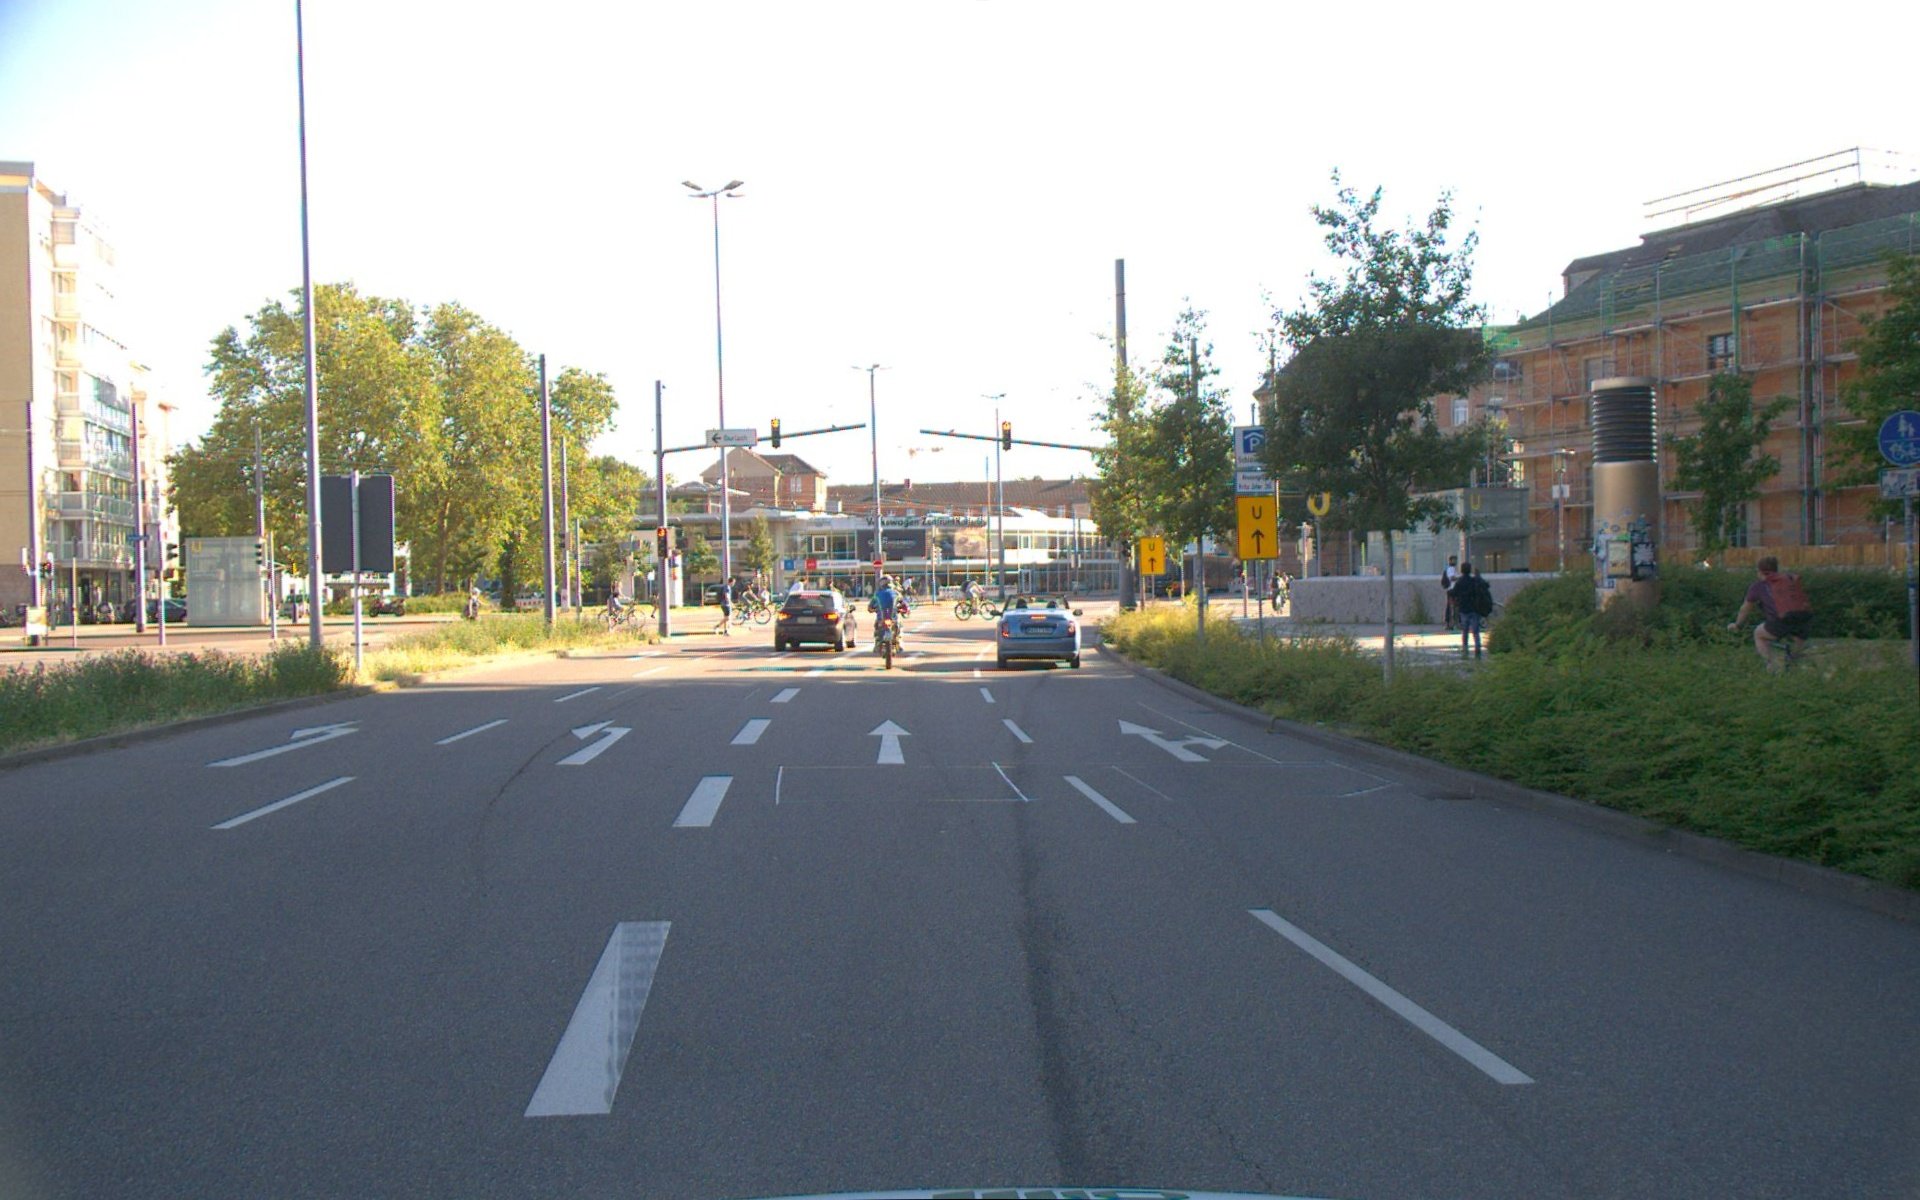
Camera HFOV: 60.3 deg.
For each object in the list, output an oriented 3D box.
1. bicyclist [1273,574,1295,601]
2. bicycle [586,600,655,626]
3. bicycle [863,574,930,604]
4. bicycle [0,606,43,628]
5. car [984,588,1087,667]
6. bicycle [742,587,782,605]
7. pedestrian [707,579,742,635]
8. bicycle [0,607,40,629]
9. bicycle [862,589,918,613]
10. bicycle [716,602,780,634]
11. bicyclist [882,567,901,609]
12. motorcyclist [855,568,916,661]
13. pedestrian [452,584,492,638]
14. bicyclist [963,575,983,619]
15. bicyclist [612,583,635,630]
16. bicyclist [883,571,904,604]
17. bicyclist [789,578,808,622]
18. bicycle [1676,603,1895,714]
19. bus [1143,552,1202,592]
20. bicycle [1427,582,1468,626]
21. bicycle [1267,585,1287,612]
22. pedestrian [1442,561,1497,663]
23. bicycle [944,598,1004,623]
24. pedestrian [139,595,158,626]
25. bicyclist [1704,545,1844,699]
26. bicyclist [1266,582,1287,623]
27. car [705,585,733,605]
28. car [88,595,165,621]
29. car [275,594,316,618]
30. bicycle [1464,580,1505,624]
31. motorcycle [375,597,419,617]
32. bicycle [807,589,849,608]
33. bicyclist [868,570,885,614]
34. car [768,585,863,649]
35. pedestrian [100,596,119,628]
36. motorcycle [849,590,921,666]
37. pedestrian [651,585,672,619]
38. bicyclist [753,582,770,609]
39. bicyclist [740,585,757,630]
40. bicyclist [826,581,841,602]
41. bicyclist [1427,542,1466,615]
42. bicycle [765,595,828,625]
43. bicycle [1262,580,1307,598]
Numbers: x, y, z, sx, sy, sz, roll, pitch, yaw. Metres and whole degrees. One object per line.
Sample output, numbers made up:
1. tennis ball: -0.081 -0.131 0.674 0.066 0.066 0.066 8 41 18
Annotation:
1. bicyclist: 19.157 -0.727 97.826 0.907 1.587 0.960 -1 0 -12
2. bicycle: -12.662 0.482 61.677 2.455 0.889 0.856 -1 2 -19
3. bicycle: -3.827 -0.655 99.812 3.921 1.719 1.134 -1 2 -16
4. bicycle: -49.981 0.925 87.958 2.009 1.109 0.774 -1 0 -16
5. car: 1.577 0.497 33.137 1.762 1.469 3.981 0 1 7
6. bicycle: -11.634 -0.215 96.985 2.255 0.996 0.858 -1 2 -12
7. pedestrian: -7.244 0.207 50.965 0.820 1.701 0.690 -1 0 -36
8. bicycle: -49.707 0.956 87.158 2.009 1.109 0.774 -1 0 -16
9. bicycle: -2.946 0.036 69.669 2.256 0.921 0.858 -1 2 -13
10. bicycle: -8.260 0.693 64.419 2.446 1.153 0.859 -1 2 -9
11. bicyclist: -2.887 -0.507 69.657 0.638 1.720 0.858 -1 2 -12
12. motorcyclist: -1.421 0.272 31.715 1.073 1.751 0.937 0 0 4
13. pedestrian: -14.998 0.335 50.863 1.072 1.634 0.698 -1 2 -7
14. bicyclist: 0.507 -0.137 65.711 0.638 1.720 0.858 -1 2 -12
15. bicyclist: -12.571 0.232 61.705 0.733 1.720 0.856 -1 2 -18
16. bicyclist: -3.997 -0.735 99.764 1.052 1.933 1.118 -1 2 -15
17. bicyclist: -6.590 -0.009 67.331 0.638 1.720 0.857 -1 2 -15
18. bicycle: 7.719 0.525 15.608 0.706 0.969 2.245 0 -1 -8
19. bus: 16.998 -2.268 131.903 2.306 2.933 9.579 1 2 22
20. bicycle: 12.413 0.094 42.127 0.772 1.057 1.965 -3 0 11
21. bicycle: 13.143 -0.051 68.587 0.772 1.057 1.965 -4 -1 11
22. pedestrian: 8.620 0.205 28.028 0.788 1.688 0.791 -2 0 13
23. bicycle: 0.558 0.427 65.765 2.256 0.921 0.858 -1 2 -13
24. pedestrian: -44.972 0.596 91.664 0.762 1.705 0.780 -1 0 -14
25. bicyclist: 7.706 0.212 15.706 0.706 1.409 1.074 0 -1 -8
26. bicyclist: 13.102 0.102 68.475 0.772 1.621 0.948 -3 -1 11
27. car: -20.660 -0.461 142.032 1.953 1.561 3.999 0 2 -3
28. car: -50.633 0.497 100.544 3.927 1.447 1.803 -1 0 -20
29. car: -42.430 0.344 105.689 1.815 1.477 3.987 -1 1 -13
30. bicycle: 13.389 0.031 42.182 0.614 1.057 1.960 -3 -1 28
31. motorcycle: -31.393 0.368 92.285 2.243 1.072 0.686 -1 2 -10
32. bicycle: -7.537 -0.079 94.573 2.262 0.976 0.855 -2 3 -20
33. bicyclist: -3.510 -0.336 69.532 0.572 1.809 0.864 -1 0 -11
34. car: -3.511 0.378 40.828 1.763 1.469 3.980 0 1 3
35. pedestrian: -46.875 0.662 91.158 0.762 1.705 0.780 -1 0 -14
36. motorcycle: -1.413 0.514 31.802 1.073 1.401 2.654 0 0 4
37. pedestrian: -16.884 0.120 93.449 0.969 1.847 0.920 0 2 1
38. bicyclist: -11.655 -0.263 96.975 0.907 1.586 0.858 -1 2 -12
39. bicyclist: -8.234 0.273 64.414 0.637 1.720 0.859 -1 2 -8
40. bicyclist: -7.238 -0.482 94.680 0.702 1.162 0.833 -1 2 -19
41. bicyclist: 12.368 -0.542 42.085 0.770 1.817 0.895 -3 -1 11
42. bicycle: -6.665 0.405 67.319 2.452 1.153 0.857 -1 2 -15
43. bicycle: 19.177 -0.660 97.816 2.396 1.021 0.960 -1 0 -13
